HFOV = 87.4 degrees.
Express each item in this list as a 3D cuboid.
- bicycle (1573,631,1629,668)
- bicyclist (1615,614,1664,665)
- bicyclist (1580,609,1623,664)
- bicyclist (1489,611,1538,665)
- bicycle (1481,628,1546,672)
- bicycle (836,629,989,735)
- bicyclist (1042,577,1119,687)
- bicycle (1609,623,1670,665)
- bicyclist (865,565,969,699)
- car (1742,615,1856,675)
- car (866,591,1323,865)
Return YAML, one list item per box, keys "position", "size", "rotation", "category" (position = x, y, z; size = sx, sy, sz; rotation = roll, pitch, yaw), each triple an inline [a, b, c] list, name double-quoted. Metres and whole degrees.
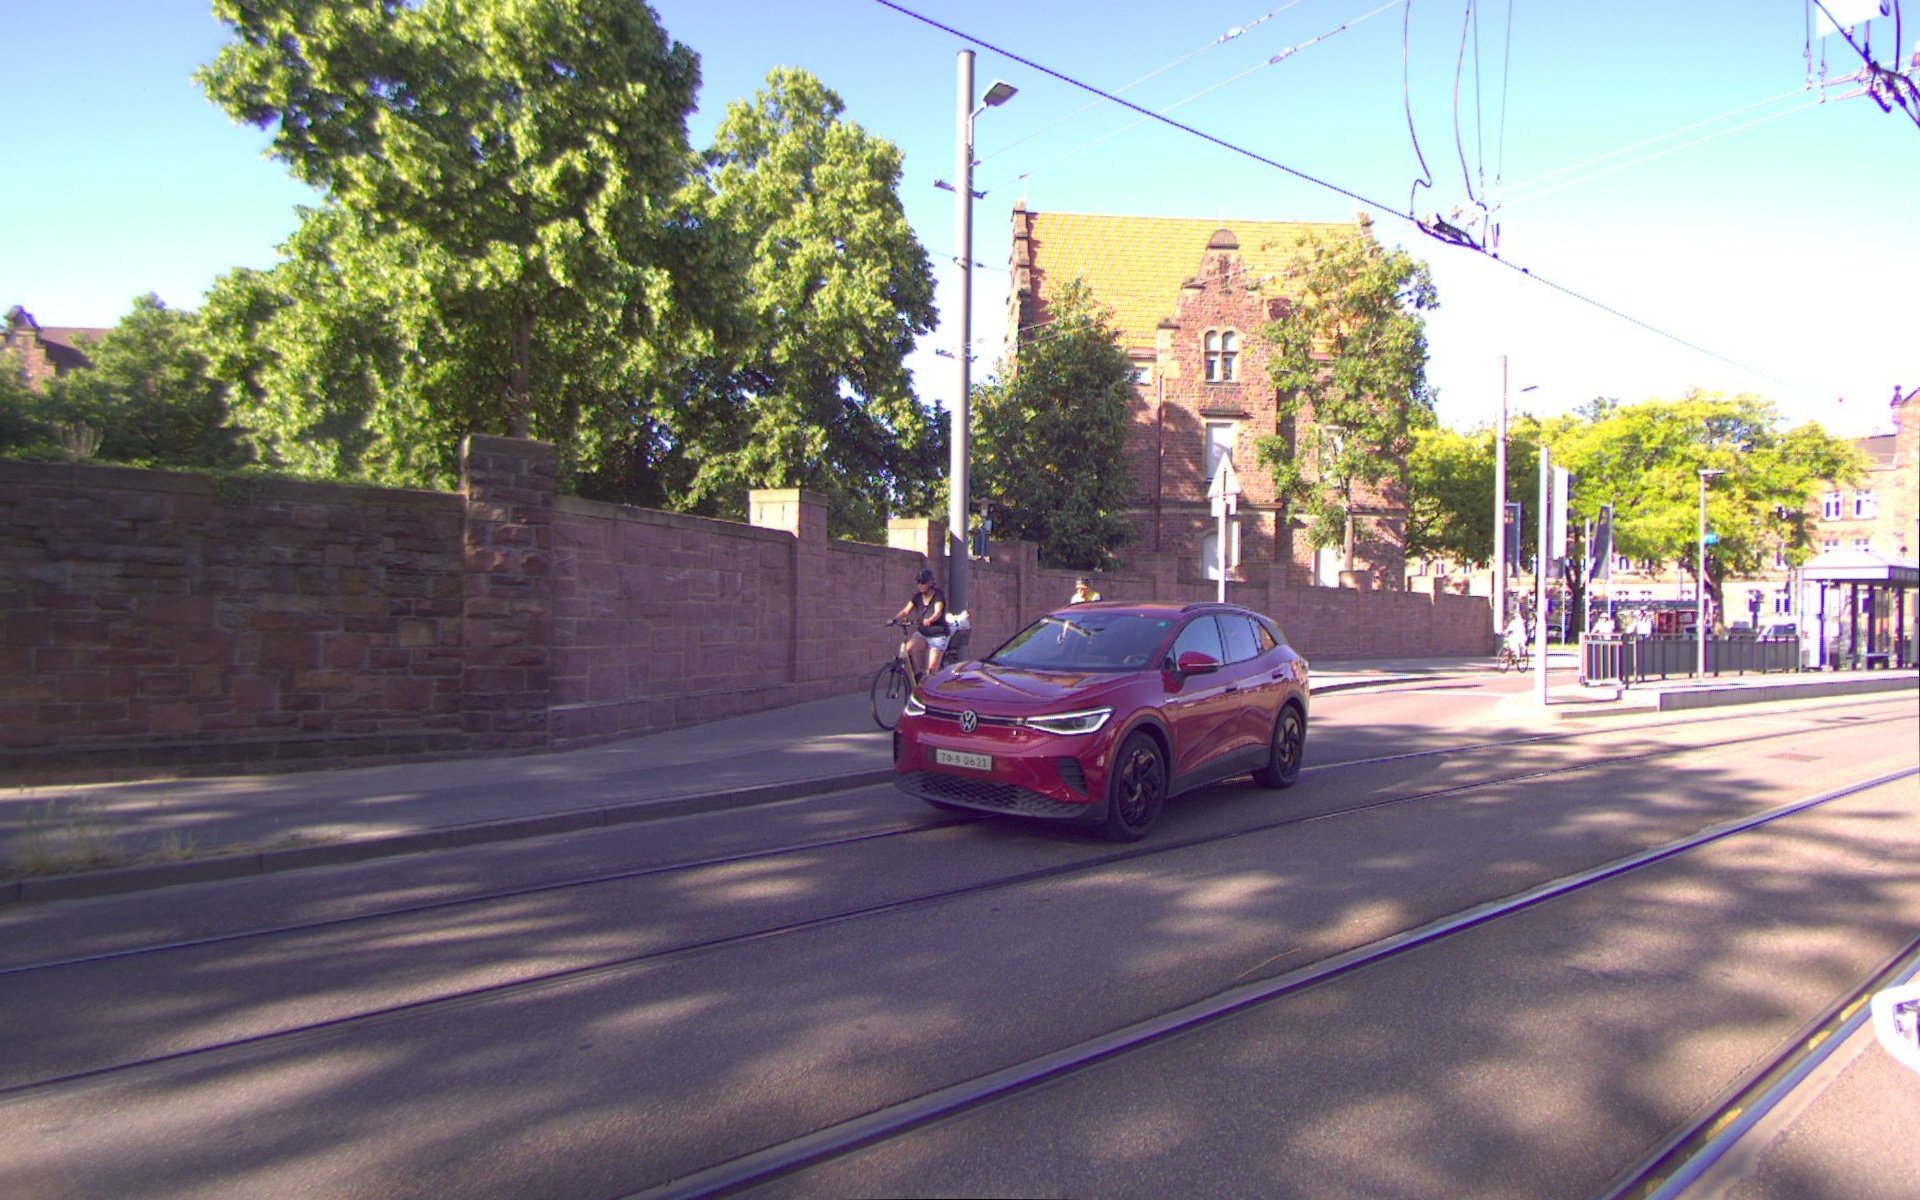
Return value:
- position: [20.407, 1.559, 31.977]
  size: [1.992, 1.087, 0.665]
  rotation: [1, 1, -32]
  category: "bicycle"
- position: [21.107, 1.219, 31.187]
  size: [1.332, 1.557, 0.756]
  rotation: [1, 0, -31]
  category: "bicyclist"
- position: [20.423, 1.138, 31.985]
  size: [1.219, 1.697, 0.646]
  rotation: [0, 2, -32]
  category: "bicyclist"
- position: [16.019, 1.095, 29.067]
  size: [1.178, 1.490, 0.752]
  rotation: [2, 0, -33]
  category: "bicyclist"
- position: [16.022, 1.447, 29.075]
  size: [1.931, 1.214, 0.810]
  rotation: [2, 0, -33]
  category: "bicycle"
- position: [-0.501, 0.898, 11.695]
  size: [0.675, 1.103, 2.058]
  rotation: [1, -1, 34]
  category: "bicycle"
- position: [1.720, 0.436, 14.203]
  size: [0.643, 1.478, 1.149]
  rotation: [1, 0, 32]
  category: "bicyclist"
- position: [21.114, 1.345, 31.195]
  size: [2.065, 1.247, 0.773]
  rotation: [1, 0, -31]
  category: "bicycle"
- position: [-0.488, 0.358, 11.714]
  size: [0.644, 1.478, 1.149]
  rotation: [1, 0, 34]
  category: "bicyclist"
- position: [27.338, 1.443, 32.702]
  size: [4.212, 1.812, 1.815]
  rotation: [1, -1, -35]
  category: "car"
- position: [1.372, 0.802, 8.274]
  size: [1.795, 1.628, 4.341]
  rotation: [1, -1, 38]
  category: "car"
